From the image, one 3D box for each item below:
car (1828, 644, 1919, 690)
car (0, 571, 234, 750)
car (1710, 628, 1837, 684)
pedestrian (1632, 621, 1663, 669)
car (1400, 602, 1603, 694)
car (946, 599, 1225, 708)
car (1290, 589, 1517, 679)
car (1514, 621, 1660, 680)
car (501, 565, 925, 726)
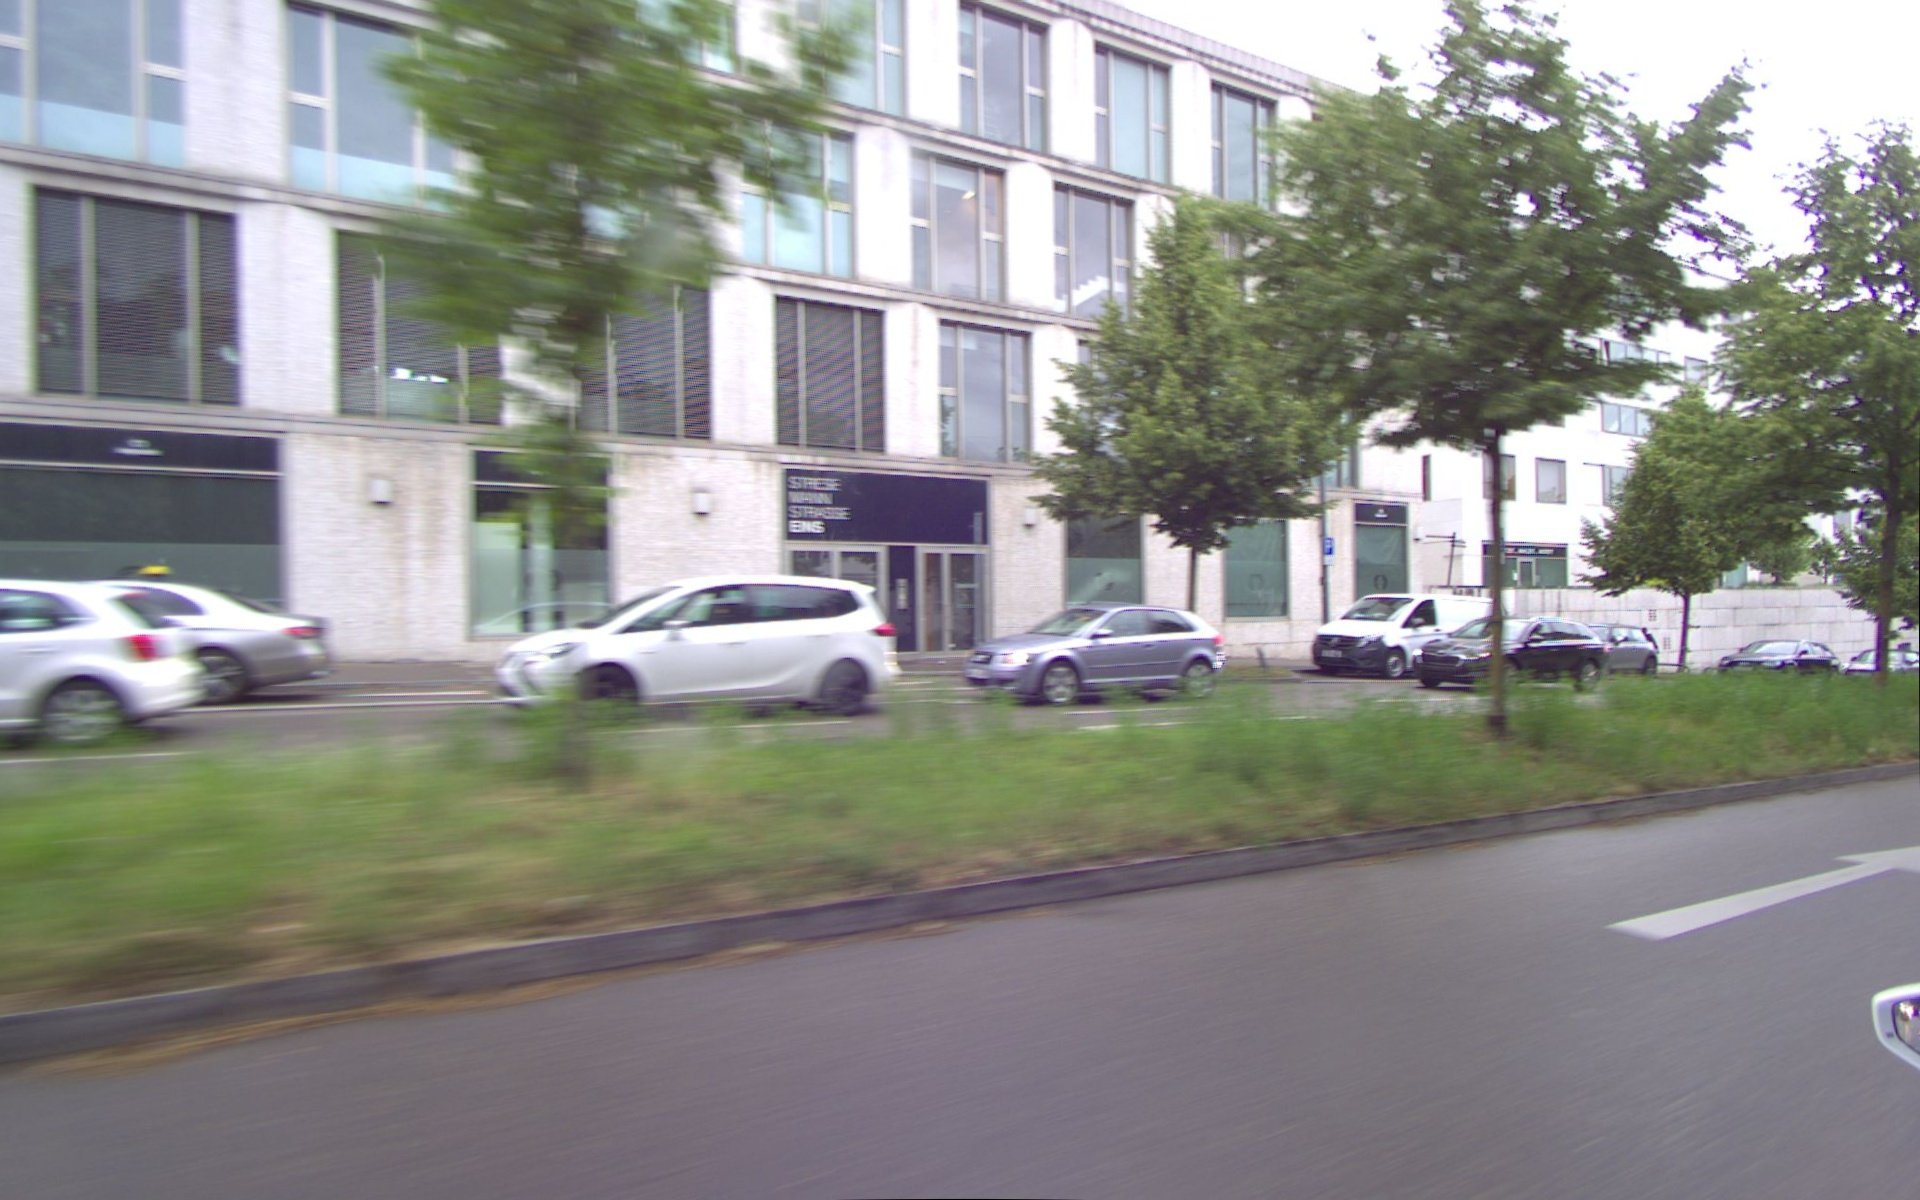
[{"bbox_3d":[32.464,2.327,35.294,3.810,1.463,1.688,1,0,-27],"label":"car"},{"bbox_3d":[-8.951,0.480,8.768,4.011,1.487,1.736,1,0,-29],"label":"car"},{"bbox_3d":[25.236,1.700,31.154,3.968,1.602,1.688,1,0,-29],"label":"car"},{"bbox_3d":[25.935,1.697,37.904,0.683,1.798,0.715,2,-1,-29],"label":"pedestrian"},{"bbox_3d":[10.715,0.878,19.833,3.969,1.603,1.687,0,2,-30],"label":"car"},{"bbox_3d":[1.902,0.737,14.932,3.949,1.429,1.634,0,-1,-30],"label":"car"},{"bbox_3d":[10.146,0.780,22.872,5.200,1.840,2.111,2,-1,-31],"label":"car"},{"bbox_3d":[16.275,1.311,26.040,3.656,1.403,1.686,3,0,-31],"label":"car"},{"bbox_3d":[-2.886,0.526,12.066,4.619,1.622,1.820,2,-1,-30],"label":"car"}]
